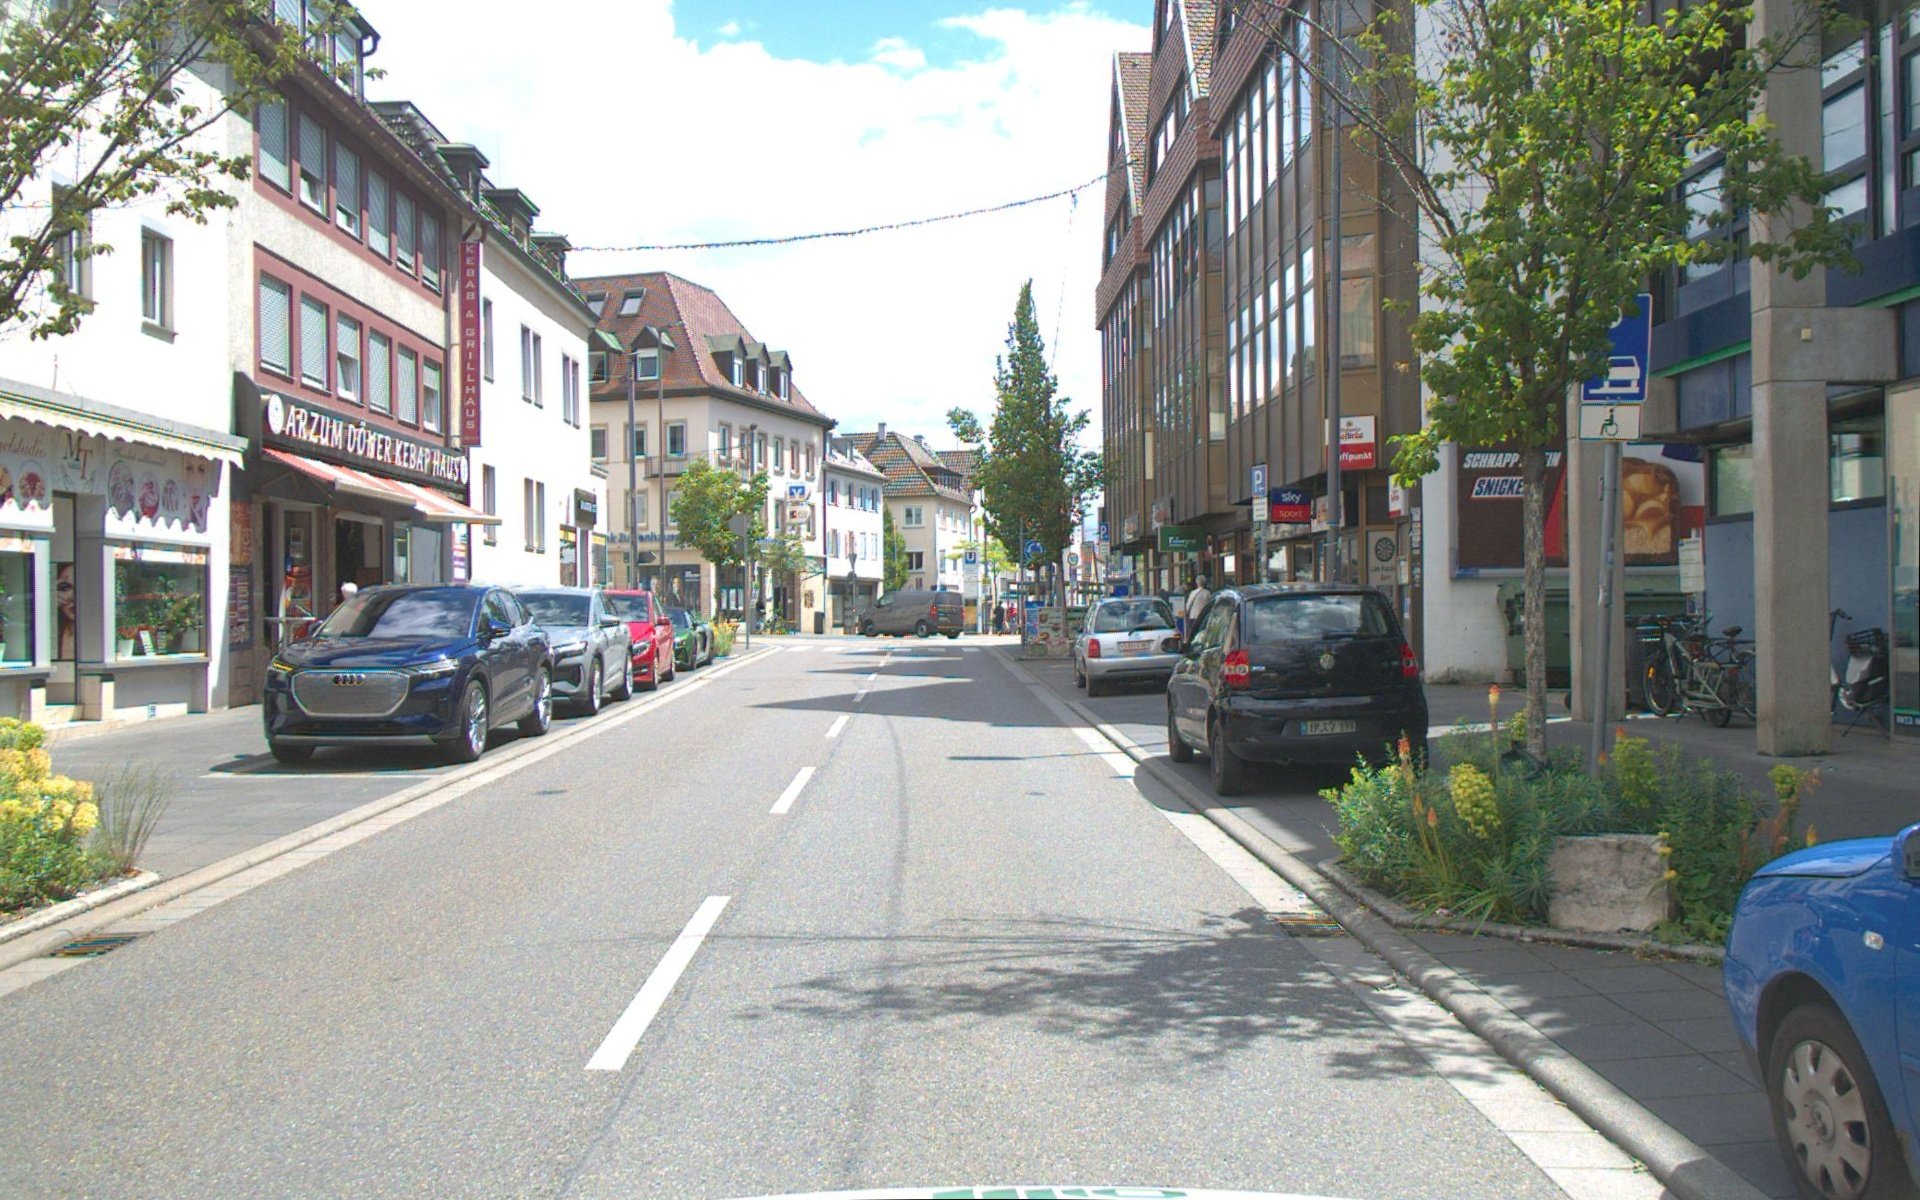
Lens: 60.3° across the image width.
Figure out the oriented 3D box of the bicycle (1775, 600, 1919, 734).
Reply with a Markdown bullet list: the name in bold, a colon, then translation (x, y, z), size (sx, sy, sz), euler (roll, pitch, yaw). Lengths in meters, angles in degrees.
- **bicycle**: translation (8.016, 0.585, 14.993), size (0.416, 1.139, 1.741), euler (1, -1, 1)

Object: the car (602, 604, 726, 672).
- **car**: translation (-5.995, 0.736, 33.948), size (1.782, 1.245, 4.522), euler (1, 0, -1)

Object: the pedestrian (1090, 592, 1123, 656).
- **pedestrian**: translation (3.841, 0.633, 43.361), size (0.768, 1.644, 0.800), euler (1, -1, -1)

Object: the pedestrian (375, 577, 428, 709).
- **pedestrian**: translation (-7.149, 0.547, 21.187), size (0.503, 1.677, 0.471), euler (1, -1, -3)

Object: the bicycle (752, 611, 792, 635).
- **bicycle**: translation (-8.200, 0.996, 72.151), size (1.597, 1.049, 0.568), euler (1, -1, 14)

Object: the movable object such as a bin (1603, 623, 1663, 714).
- **movable object such as a bin**: translation (7.701, 0.772, 18.940), size (0.477, 1.016, 0.554), euler (1, -1, 1)

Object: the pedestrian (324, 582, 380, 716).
- **pedestrian**: translation (-7.744, 0.618, 21.091), size (0.491, 1.677, 0.574), euler (1, -1, -3)

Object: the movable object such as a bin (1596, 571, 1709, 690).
- **movable object such as a bin**: translation (9.372, 0.408, 22.432), size (1.118, 1.554, 1.032), euler (1, -1, 1)

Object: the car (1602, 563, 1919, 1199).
- **car**: translation (2.868, 0.688, 3.173), size (1.686, 1.520, 4.109), euler (1, -1, 0)

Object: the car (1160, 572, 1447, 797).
- **car**: translation (2.687, 0.598, 13.730), size (1.576, 1.559, 3.795), euler (-2, 0, 0)

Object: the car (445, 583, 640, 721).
- **car**: translation (-5.439, 0.613, 22.052), size (1.764, 1.632, 4.347), euler (-1, 0, -4)

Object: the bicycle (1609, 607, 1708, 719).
- **bicycle**: translation (7.404, 0.648, 17.587), size (0.416, 1.100, 1.502), euler (-2, 1, 1)

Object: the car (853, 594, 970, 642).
- **car**: translation (-1.998, 0.706, 66.817), size (2.030, 1.881, 4.923), euler (1, -1, -42)

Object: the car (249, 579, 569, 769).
- **car**: translation (-5.263, 0.631, 16.427), size (1.763, 1.626, 4.388), euler (0, 0, -1)

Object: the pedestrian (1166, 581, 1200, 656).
- **pedestrian**: translation (5.515, 0.460, 40.916), size (0.722, 1.846, 0.711), euler (1, -1, -1)

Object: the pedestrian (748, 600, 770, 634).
- **pedestrian**: translation (-9.244, 0.774, 76.102), size (0.613, 1.559, 0.858), euler (0, -1, 23)

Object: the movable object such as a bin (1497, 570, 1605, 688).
- **movable object such as a bin**: translation (8.084, 0.393, 22.678), size (1.118, 1.554, 1.032), euler (1, -1, 1)

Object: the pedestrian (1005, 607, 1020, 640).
- **pedestrian**: translation (2.874, 1.283, 90.891), size (0.712, 1.794, 0.749), euler (0, 0, 9)

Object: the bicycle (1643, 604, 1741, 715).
- **bicycle**: translation (7.874, 0.621, 17.843), size (0.416, 1.139, 1.502), euler (1, -1, 1)

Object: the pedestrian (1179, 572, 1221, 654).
- **pedestrian**: translation (5.093, 0.280, 35.135), size (0.647, 1.736, 0.642), euler (1, -1, -23)

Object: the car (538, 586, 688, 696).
- **car**: translation (-5.632, 0.616, 27.287), size (1.763, 1.632, 4.216), euler (-1, 0, -3)

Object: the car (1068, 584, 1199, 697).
- **car**: translation (2.625, 0.573, 25.743), size (1.577, 1.521, 3.795), euler (-4, 0, 0)

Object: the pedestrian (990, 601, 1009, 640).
- **pedestrian**: translation (1.792, 0.944, 74.932), size (0.851, 1.738, 0.531), euler (1, -1, 2)
